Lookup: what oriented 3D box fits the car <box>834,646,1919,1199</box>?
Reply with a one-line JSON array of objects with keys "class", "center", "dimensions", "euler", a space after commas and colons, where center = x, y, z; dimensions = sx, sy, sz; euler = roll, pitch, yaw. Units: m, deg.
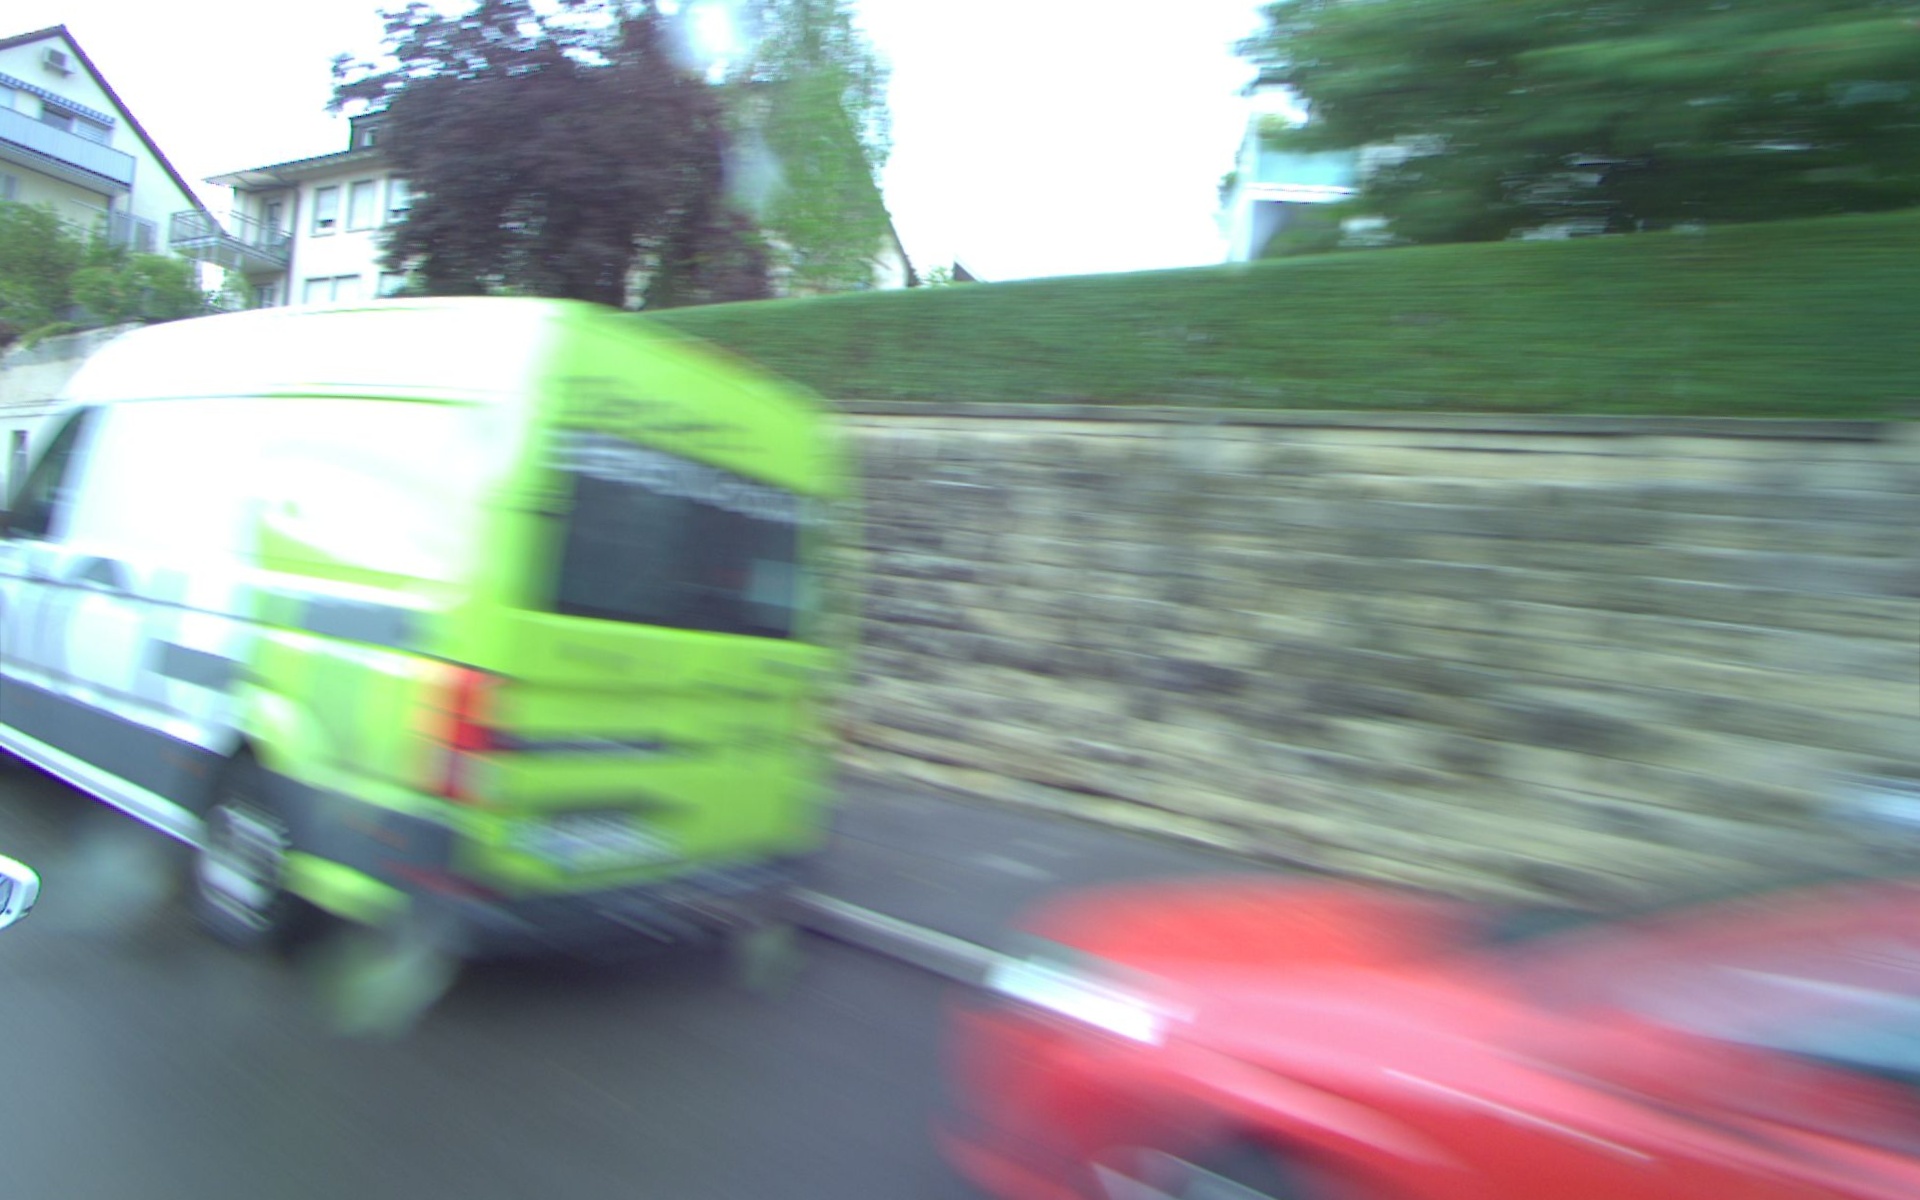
[{"class": "car", "center": [1.955, 1.116, 2.005], "dimensions": [4.134, 1.437, 1.724], "euler": [7, -2, 33]}]

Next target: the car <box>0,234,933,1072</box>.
[{"class": "car", "center": [-3.374, -0.019, 5.497], "dimensions": [5.979, 2.491, 2.210], "euler": [7, -2, 32]}]

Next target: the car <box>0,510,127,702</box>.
[{"class": "car", "center": [-9.314, -0.171, 8.816], "dimensions": [4.164, 1.470, 1.692], "euler": [7, -2, 31]}]

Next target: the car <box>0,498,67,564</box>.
[{"class": "car", "center": [-24.581, -1.881, 25.219], "dimensions": [4.131, 1.417, 1.891], "euler": [6, -2, 29]}]
